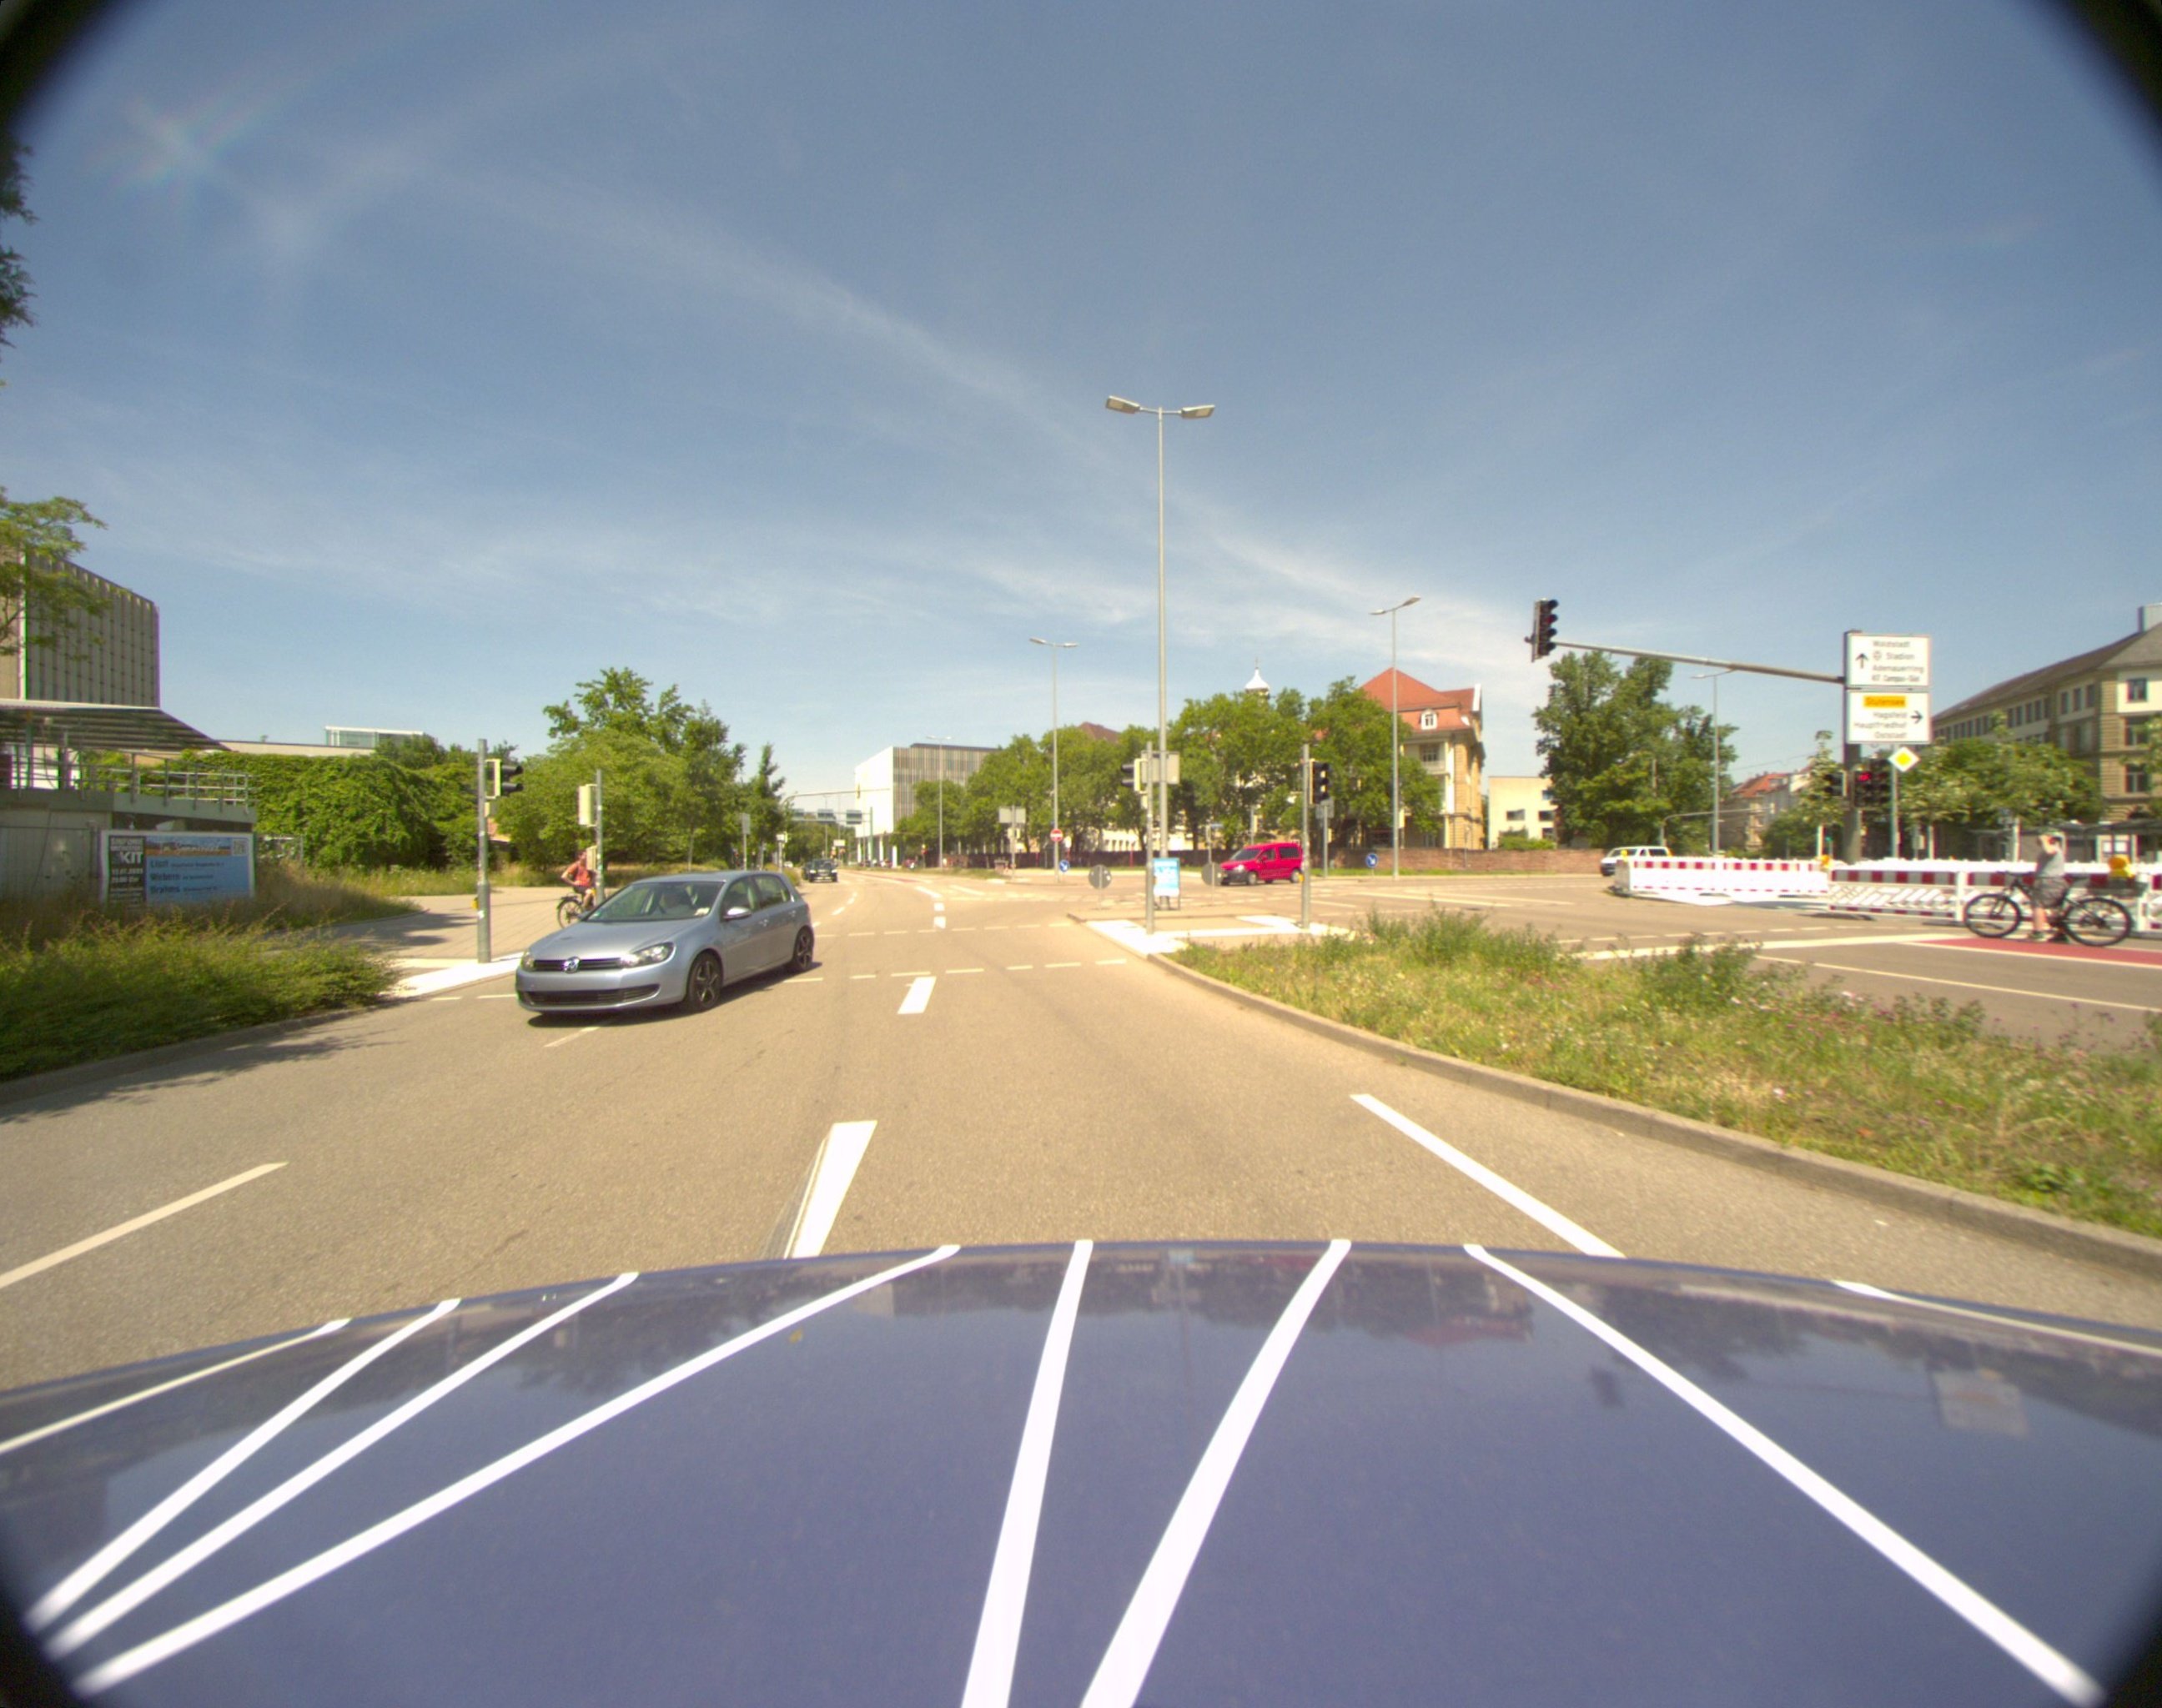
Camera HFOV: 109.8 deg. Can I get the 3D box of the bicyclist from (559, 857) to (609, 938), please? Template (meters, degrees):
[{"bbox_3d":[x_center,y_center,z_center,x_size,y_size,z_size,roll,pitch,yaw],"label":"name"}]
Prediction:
[{"bbox_3d":[-10.700,0.922,16.363,0.702,1.705,0.552,0,-1,15],"label":"bicyclist"}]

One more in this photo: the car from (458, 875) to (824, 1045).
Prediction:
[{"bbox_3d":[-4.736,1.042,8.995,1.832,1.406,3.995,-1,0,3],"label":"car"}]

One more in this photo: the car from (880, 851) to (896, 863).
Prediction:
[{"bbox_3d":[-30.005,0.493,117.917,1.784,1.673,3.994,-1,-2,-22],"label":"car"}]

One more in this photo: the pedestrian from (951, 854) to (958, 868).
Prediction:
[{"bbox_3d":[-19.550,1.073,117.586,0.790,2.001,0.962,-1,-2,-25],"label":"pedestrian"}]

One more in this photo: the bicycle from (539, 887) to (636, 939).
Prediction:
[{"bbox_3d":[-10.598,1.254,16.330,1.993,1.039,0.559,0,-1,16],"label":"bicycle"}]

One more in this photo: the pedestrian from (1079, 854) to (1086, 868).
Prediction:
[{"bbox_3d":[0.200,0.859,95.479,0.525,1.710,0.590,-3,-2,40],"label":"pedestrian"}]

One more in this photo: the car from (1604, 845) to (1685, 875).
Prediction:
[{"bbox_3d":[34.926,0.356,47.093,5.038,1.784,1.929,-1,0,-26],"label":"car"}]

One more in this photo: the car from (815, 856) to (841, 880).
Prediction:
[{"bbox_3d":[-18.287,1.054,54.790,1.710,1.576,4.550,-1,-2,-20],"label":"car"}]

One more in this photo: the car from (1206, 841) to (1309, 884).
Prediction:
[{"bbox_3d":[7.684,0.384,33.037,4.286,1.755,1.830,0,-2,-32],"label":"car"}]

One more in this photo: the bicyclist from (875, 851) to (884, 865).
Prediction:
[{"bbox_3d":[-27.242,0.572,102.765,0.710,1.875,1.136,0,-2,-34],"label":"bicyclist"}]

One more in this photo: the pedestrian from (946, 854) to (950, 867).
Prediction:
[{"bbox_3d":[-20.492,1.049,116.933,0.550,2.001,0.535,-1,-1,-24],"label":"pedestrian"}]

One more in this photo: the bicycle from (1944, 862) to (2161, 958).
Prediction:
[{"bbox_3d":[13.596,0.730,10.719,0.524,1.174,1.896,-1,1,-8],"label":"bicycle"}]

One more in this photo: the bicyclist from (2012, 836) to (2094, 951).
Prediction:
[{"bbox_3d":[13.606,0.534,10.649,0.531,1.570,0.498,-1,1,-9],"label":"bicyclist"}]

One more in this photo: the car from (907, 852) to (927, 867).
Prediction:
[{"bbox_3d":[-24.030,0.826,111.536,2.002,2.001,4.207,-1,-2,-24],"label":"car"}]

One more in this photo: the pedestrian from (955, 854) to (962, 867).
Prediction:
[{"bbox_3d":[-18.970,1.046,117.941,0.790,2.001,0.839,-1,-2,-25],"label":"pedestrian"}]

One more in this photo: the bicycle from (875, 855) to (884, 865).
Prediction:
[{"bbox_3d":[-27.280,0.798,102.764,0.522,1.229,2.187,0,-2,-33],"label":"bicycle"}]

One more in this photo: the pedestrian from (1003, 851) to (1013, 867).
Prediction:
[{"bbox_3d":[-10.369,0.718,107.610,0.851,2.276,1.073,0,-2,-36],"label":"pedestrian"}]

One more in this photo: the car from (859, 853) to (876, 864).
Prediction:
[{"bbox_3d":[-32.776,0.688,116.838,1.781,1.658,3.993,-1,-2,-27],"label":"car"}]
